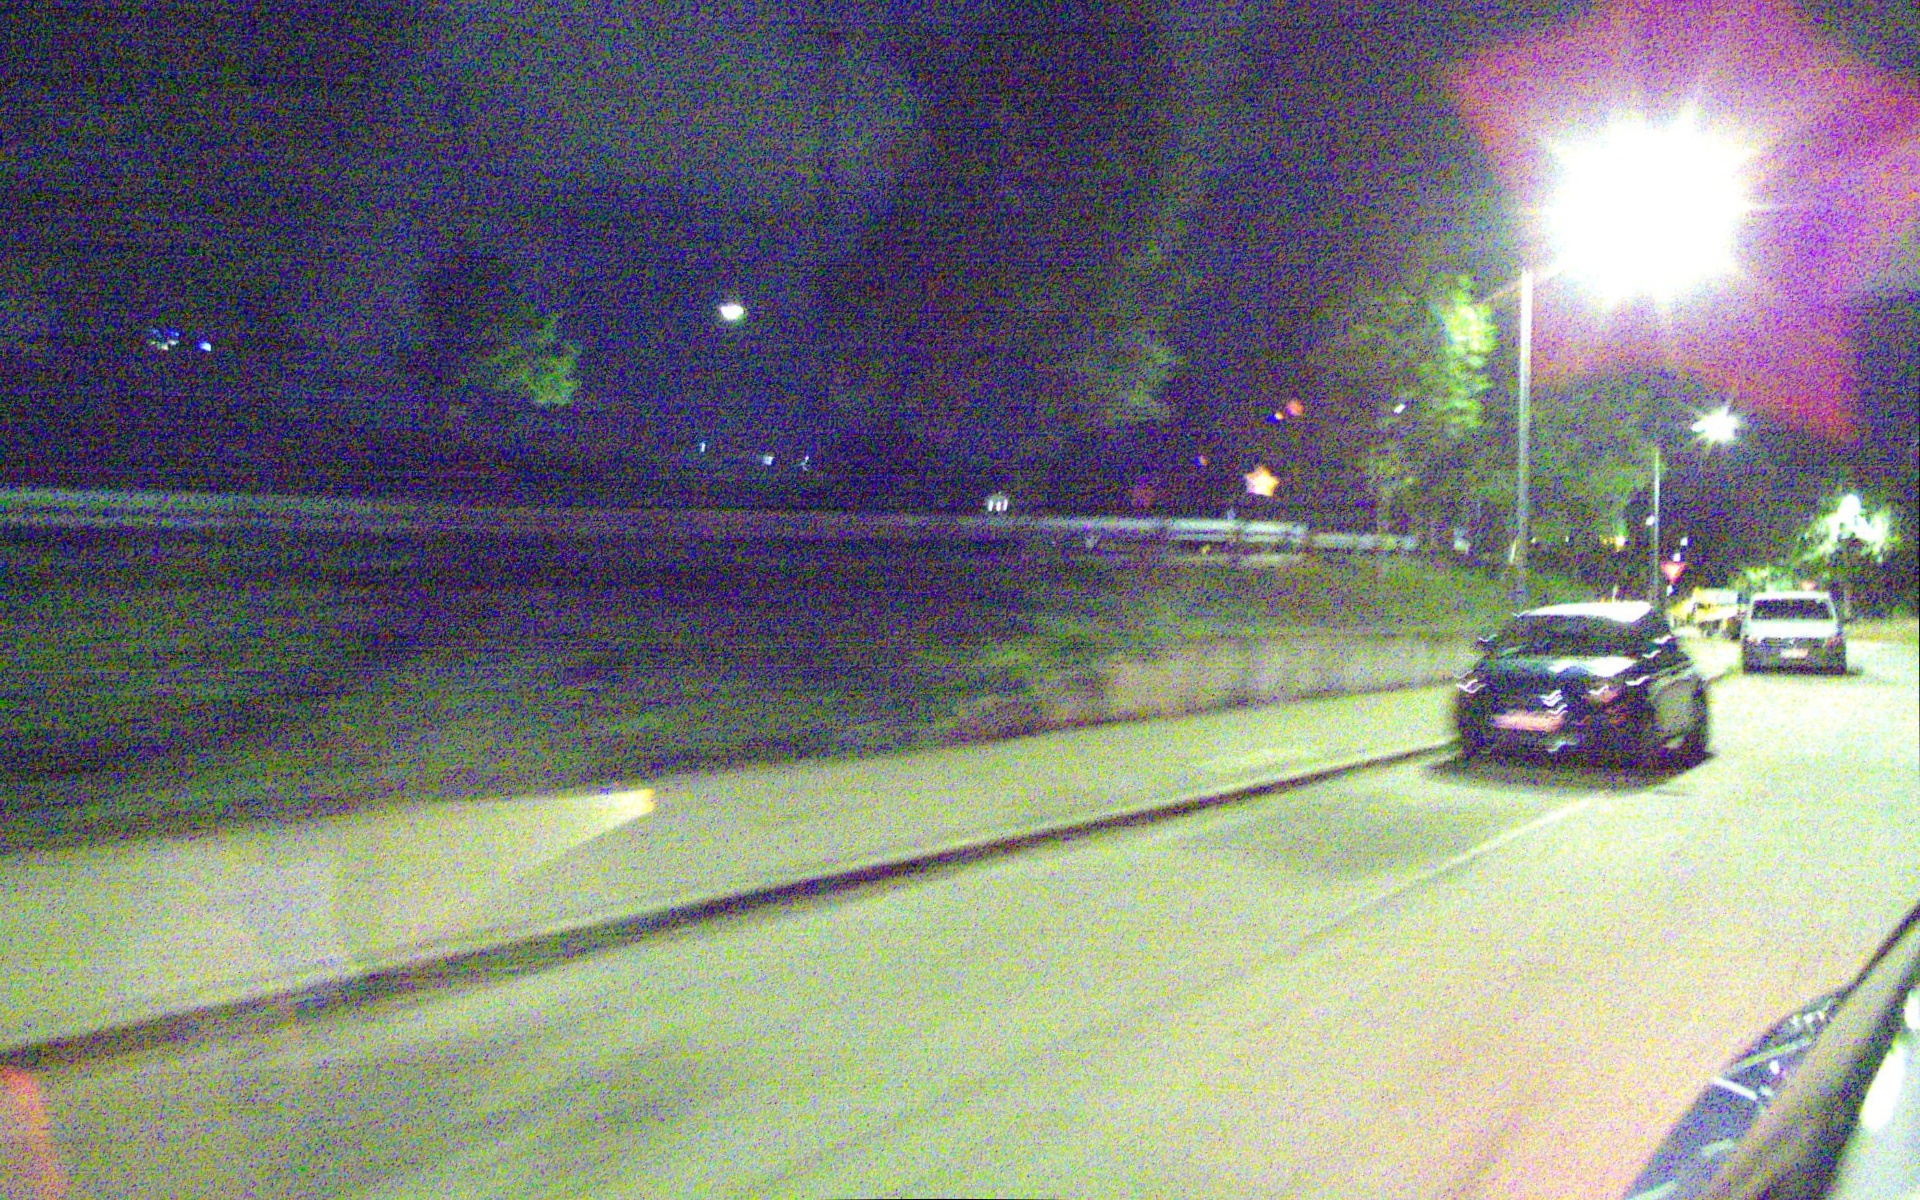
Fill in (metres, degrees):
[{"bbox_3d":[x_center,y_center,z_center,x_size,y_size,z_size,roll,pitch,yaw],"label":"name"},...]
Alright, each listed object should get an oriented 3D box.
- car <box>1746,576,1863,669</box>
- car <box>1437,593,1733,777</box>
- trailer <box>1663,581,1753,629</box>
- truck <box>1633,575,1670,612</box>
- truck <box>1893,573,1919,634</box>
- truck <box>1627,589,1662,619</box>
[{"bbox_3d":[20.561,0.520,24.729,1.990,2.039,5.278,-1,-1,39],"label":"car"},{"bbox_3d":[6.468,0.732,10.314,3.760,1.531,1.610,0,-2,-43],"label":"car"},{"bbox_3d":[34.201,0.195,46.436,1.474,2.039,4.963,2,1,14],"label":"trailer"},{"bbox_3d":[73.877,-0.677,108.277,3.038,3.668,9.483,2,1,34],"label":"truck"},{"bbox_3d":[49.058,0.210,49.471,2.727,3.104,9.244,1,1,28],"label":"truck"},{"bbox_3d":[63.794,0.396,94.271,2.394,2.602,6.320,2,1,37],"label":"truck"}]
